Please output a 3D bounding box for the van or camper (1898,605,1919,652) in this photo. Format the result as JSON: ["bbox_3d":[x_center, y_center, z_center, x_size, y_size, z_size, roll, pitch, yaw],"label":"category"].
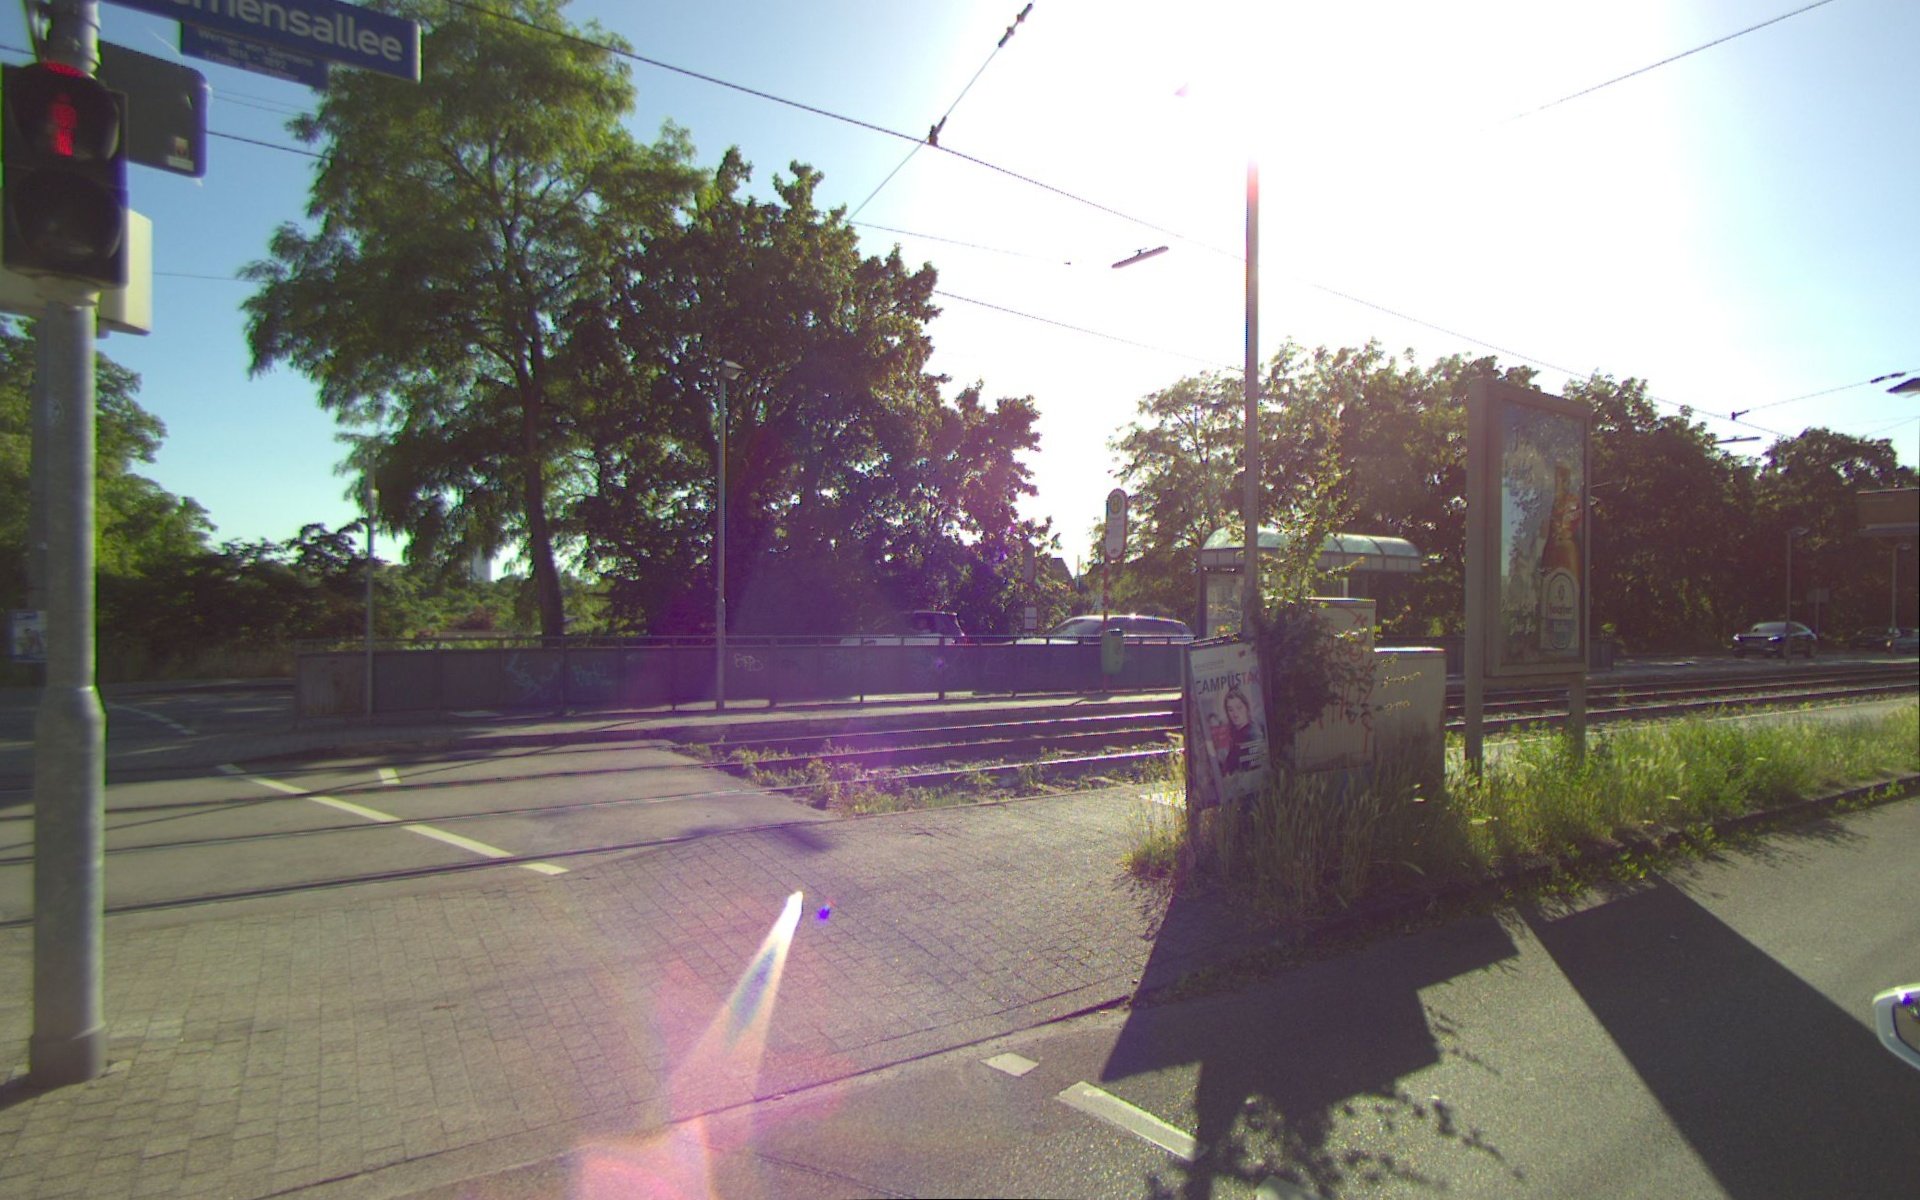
[{"bbox_3d":[66.847,1.934,68.654,6.716,3.147,2.574,1,-1,-34],"label":"van or camper"}]

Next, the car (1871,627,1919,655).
[{"bbox_3d":[53.235,2.302,56.406,4.328,1.489,1.982,1,-1,-33],"label":"car"}]

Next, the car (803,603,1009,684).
[{"bbox_3d":[-1.119,0.886,21.361,3.955,1.588,1.911,1,-1,-32],"label":"car"}]

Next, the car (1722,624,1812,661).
[{"bbox_3d":[35.800,1.857,44.526,4.332,1.489,1.981,1,-1,-35],"label":"car"}]

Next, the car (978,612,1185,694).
[{"bbox_3d":[2.486,1.021,20.277,3.958,1.486,1.794,1,-1,-34],"label":"car"}]

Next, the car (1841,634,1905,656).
[{"bbox_3d":[56.176,2.762,61.783,3.955,1.283,1.911,1,-1,-32],"label":"car"}]
